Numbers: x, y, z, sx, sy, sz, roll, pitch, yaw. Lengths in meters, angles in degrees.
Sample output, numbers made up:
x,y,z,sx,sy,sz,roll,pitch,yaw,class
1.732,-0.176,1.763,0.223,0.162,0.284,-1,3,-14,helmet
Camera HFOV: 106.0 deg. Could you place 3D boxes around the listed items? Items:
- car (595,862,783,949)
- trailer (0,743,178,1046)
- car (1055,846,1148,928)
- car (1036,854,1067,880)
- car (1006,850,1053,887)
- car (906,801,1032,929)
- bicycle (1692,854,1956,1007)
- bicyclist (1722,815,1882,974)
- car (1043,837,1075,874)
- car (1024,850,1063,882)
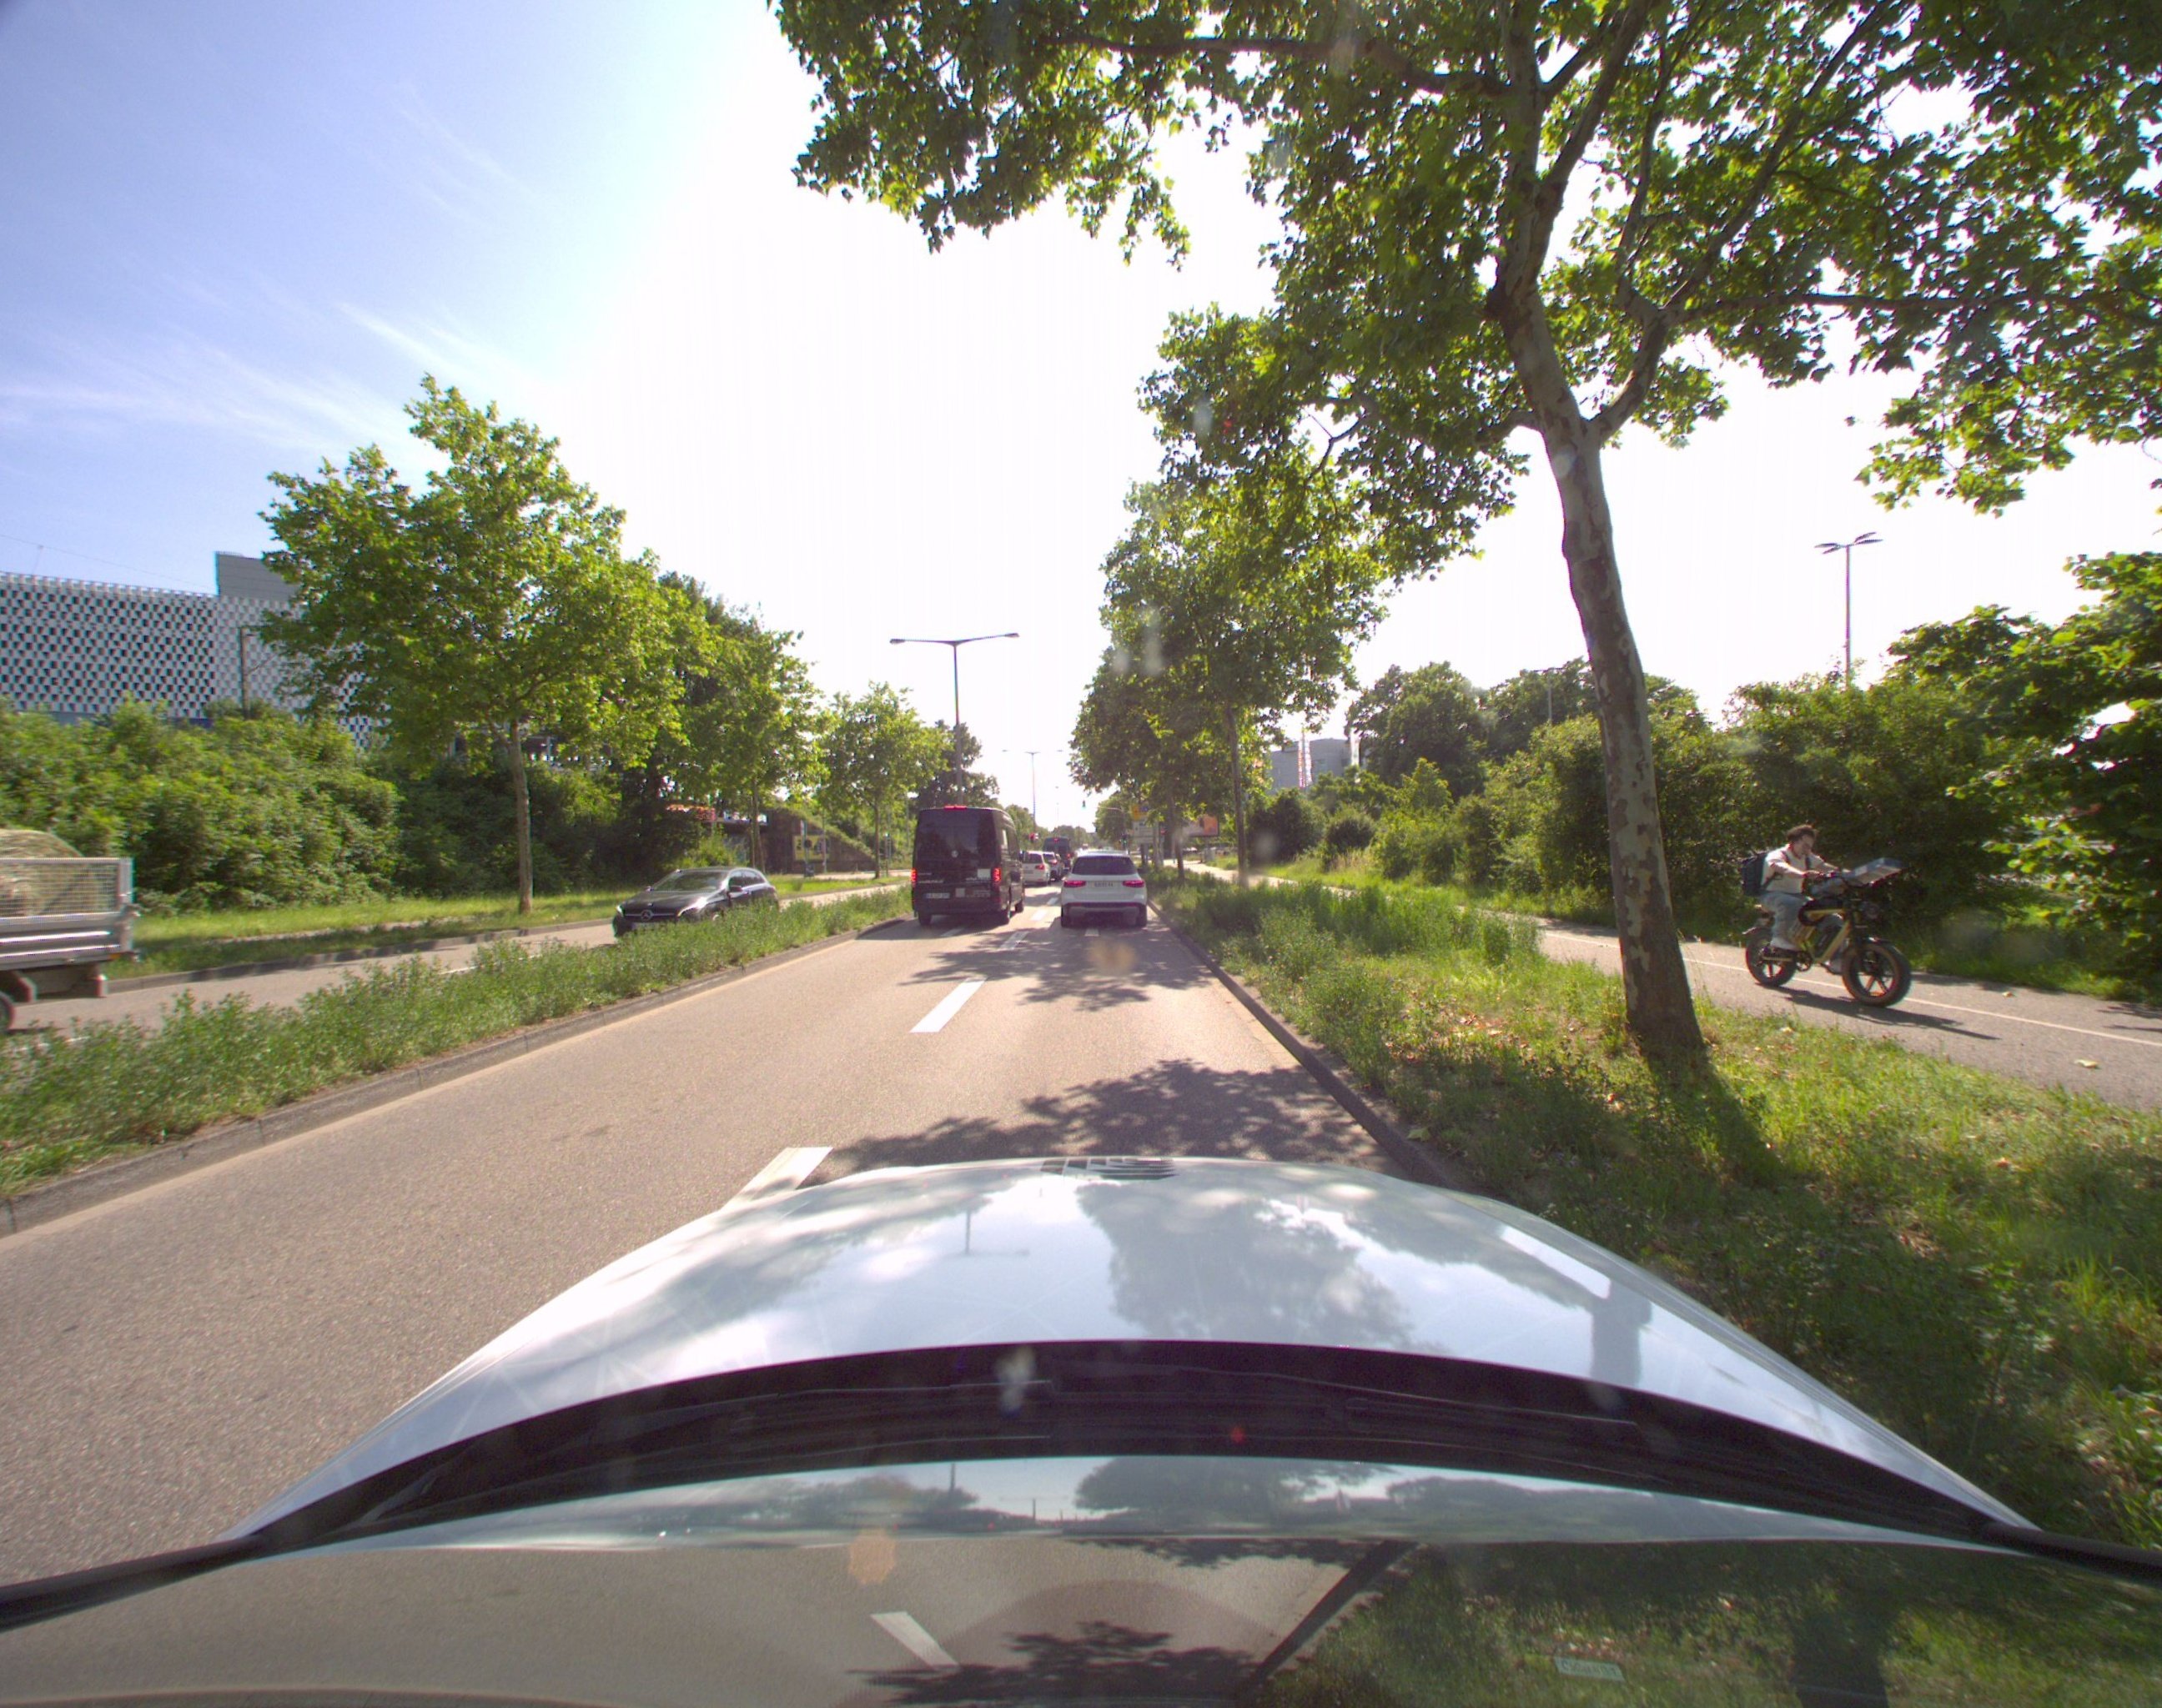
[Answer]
x,y,z,sx,sy,sz,roll,pitch,yaw,class
-7.573,0.911,16.230,1.596,1.472,4.170,-1,0,2,car
-10.732,0.359,6.360,1.873,2.744,4.829,0,0,1,trailer
0.560,0.666,18.466,1.845,1.607,4.005,-1,0,4,car
-1.779,0.792,50.120,1.685,1.505,3.887,0,0,1,car
-2.354,0.654,38.346,1.764,1.647,4.354,-1,0,2,car
-2.491,0.232,19.817,2.008,2.607,6.171,0,0,2,car
7.105,0.653,7.979,0.720,1.299,2.096,-1,0,2,bicycle
7.125,0.379,8.109,0.701,1.477,1.010,-1,0,2,bicyclist
-1.593,0.108,60.467,2.073,2.656,4.876,0,0,2,car
-2.004,0.608,44.252,1.764,1.647,4.086,-1,0,2,car
